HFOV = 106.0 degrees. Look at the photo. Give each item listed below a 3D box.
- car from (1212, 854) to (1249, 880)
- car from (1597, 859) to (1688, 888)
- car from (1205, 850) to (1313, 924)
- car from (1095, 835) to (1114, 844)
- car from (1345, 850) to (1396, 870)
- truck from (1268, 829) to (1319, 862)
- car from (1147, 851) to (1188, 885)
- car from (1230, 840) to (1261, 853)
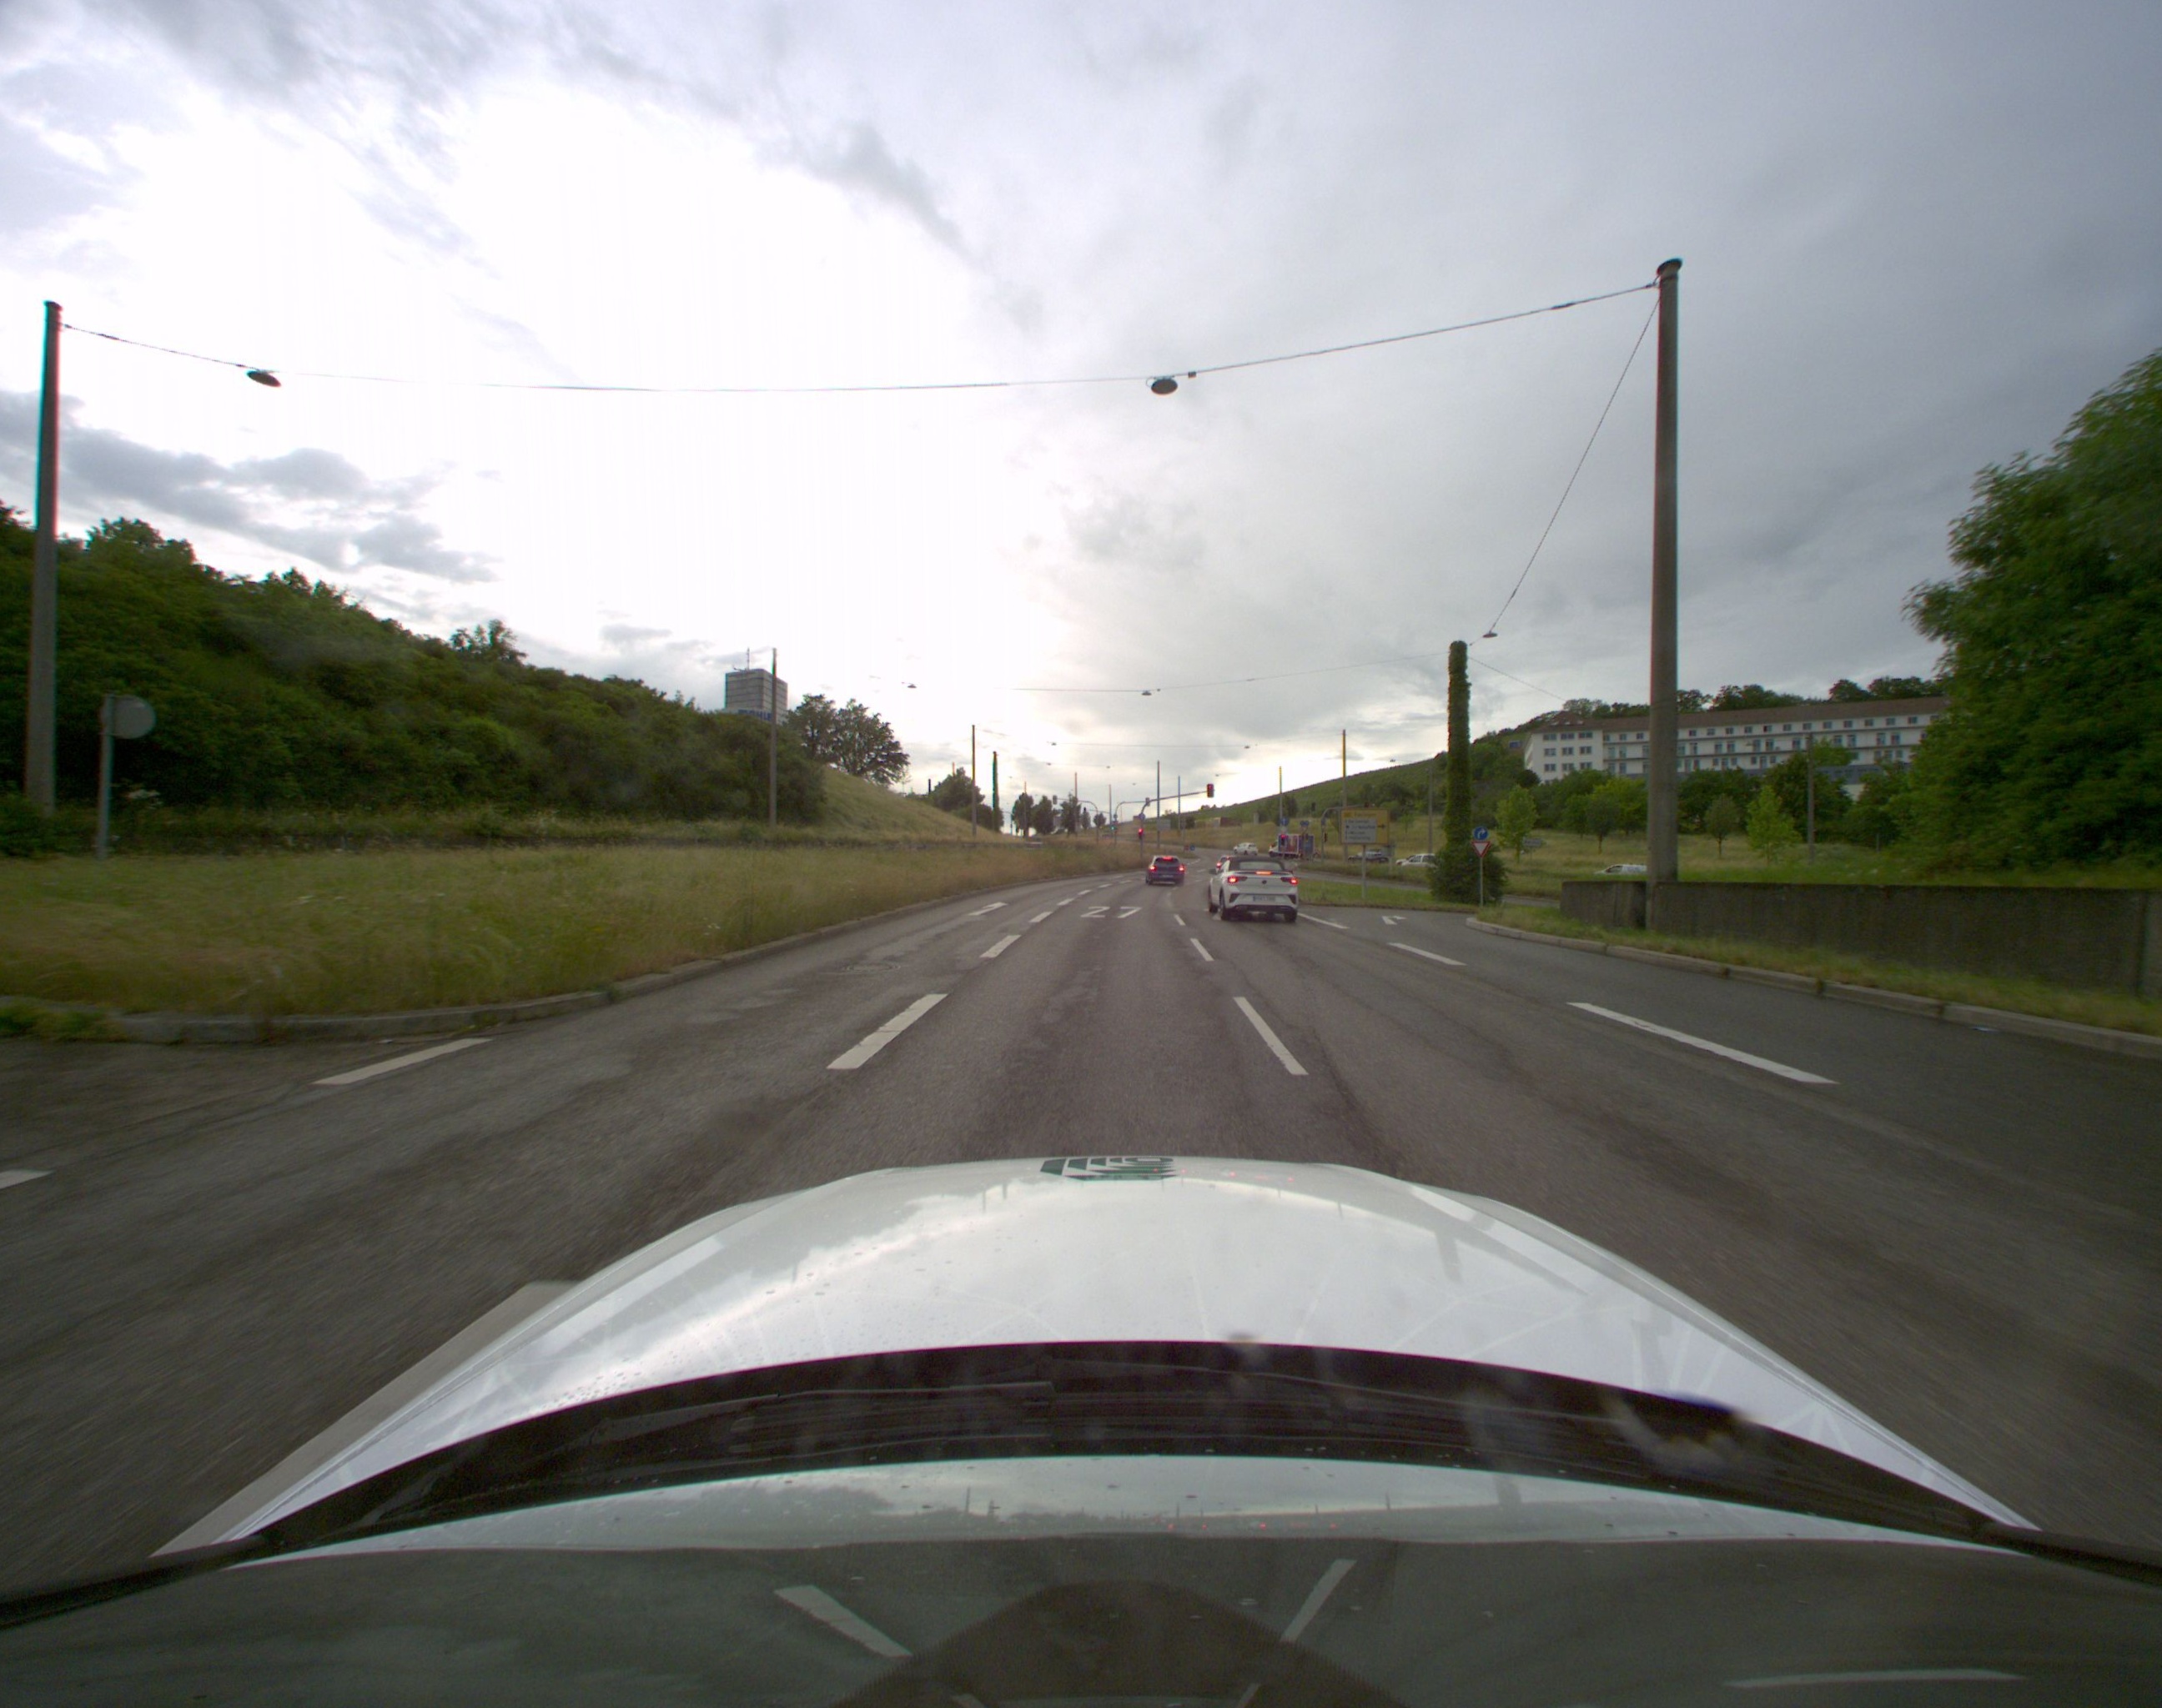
[{"bbox_3d":[9.526,0.803,51.660,1.760,1.519,3.742,2,1,18],"label":"car"},{"bbox_3d":[39.145,1.327,56.928,2.004,1.693,4.855,0,2,-26],"label":"car"},{"bbox_3d":[4.359,0.741,20.576,1.988,1.578,4.129,2,0,3],"label":"car"},{"bbox_3d":[4.366,-2.720,151.348,2.001,1.712,4.531,-2,1,-21],"label":"car"},{"bbox_3d":[29.123,0.612,82.043,2.007,1.711,4.518,-2,4,-32],"label":"car"},{"bbox_3d":[24.703,-1.031,95.018,2.858,3.526,6.195,-1,3,-20],"label":"truck"},{"bbox_3d":[4.380,0.697,40.748,1.916,1.599,4.069,0,-1,7],"label":"car"},{"bbox_3d":[21.228,-0.960,105.194,1.999,1.500,4.537,-1,3,-18],"label":"car"}]
